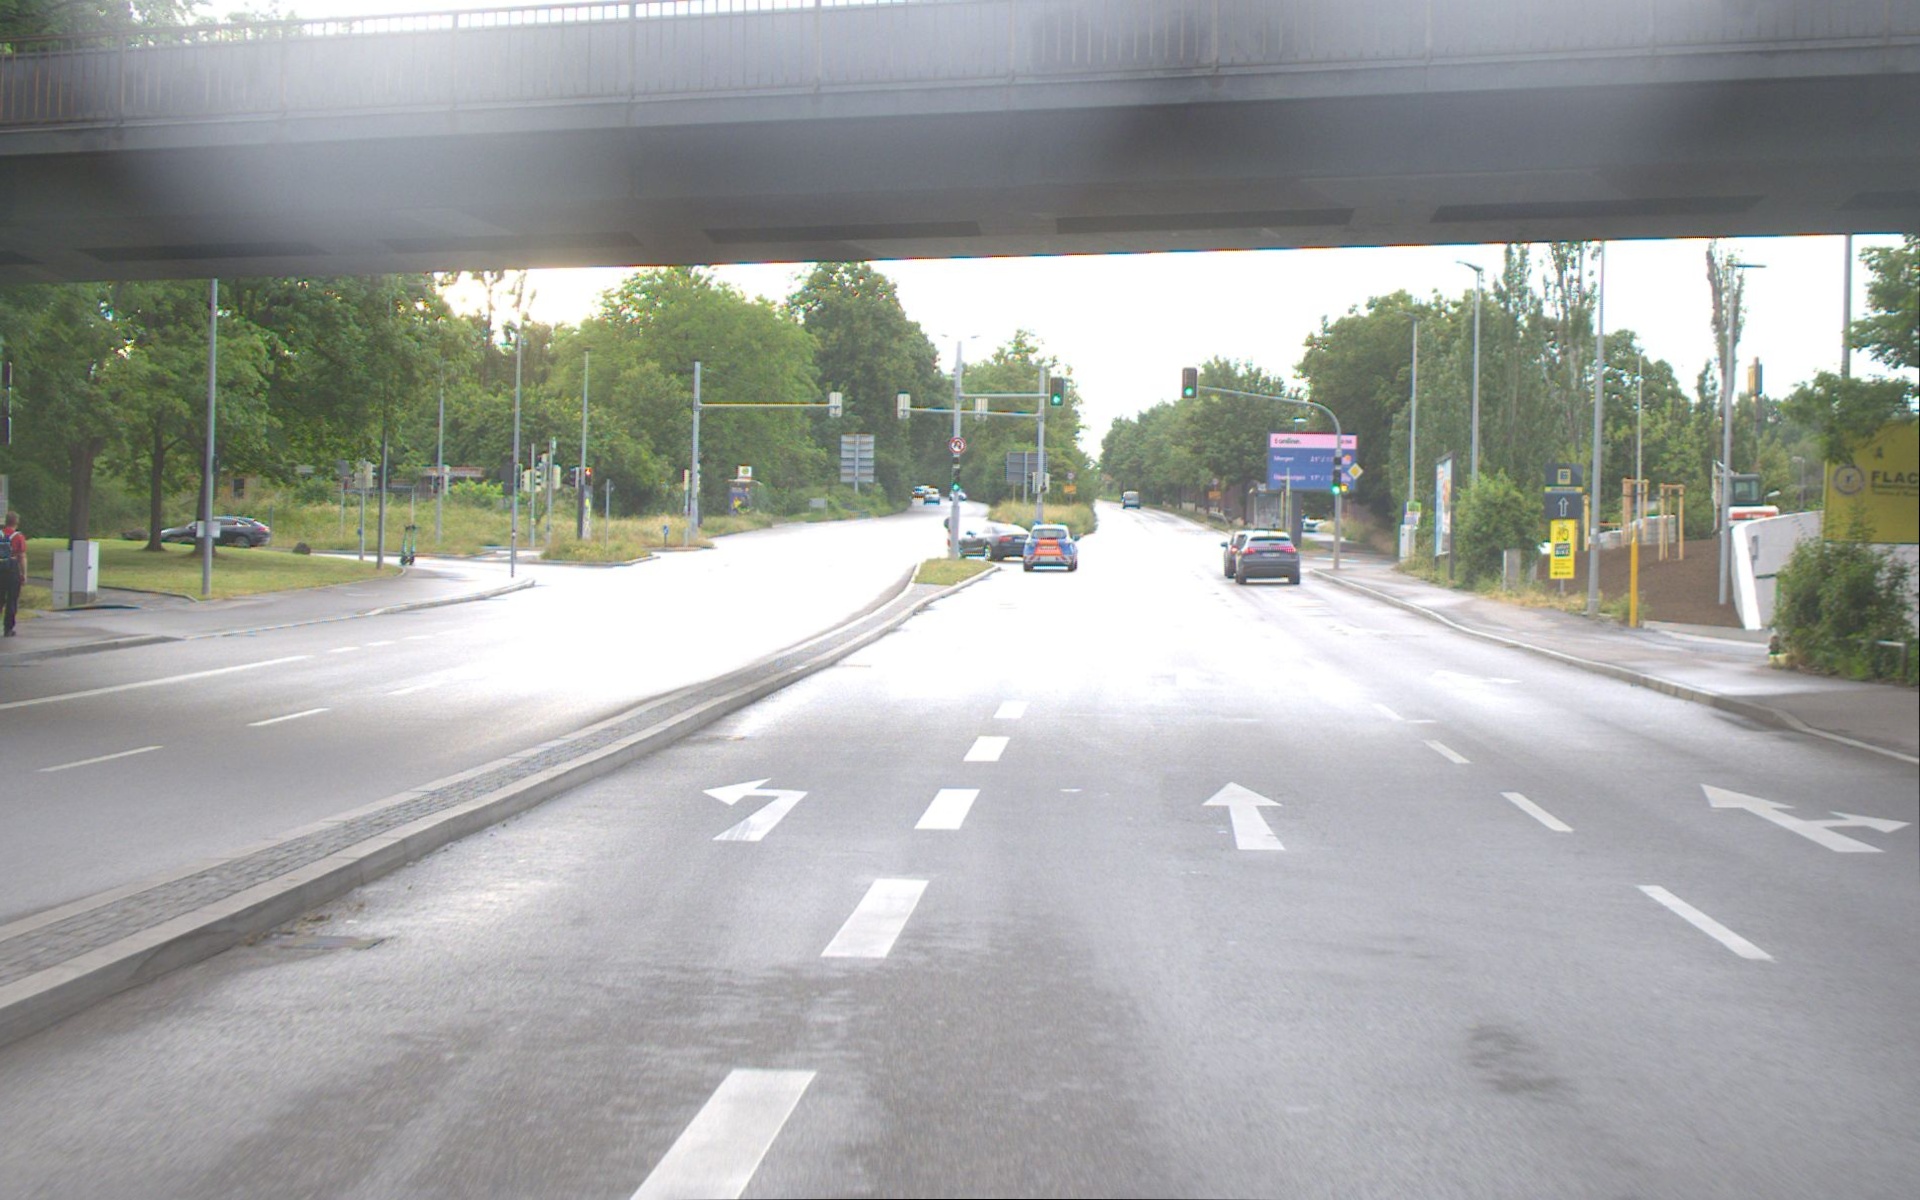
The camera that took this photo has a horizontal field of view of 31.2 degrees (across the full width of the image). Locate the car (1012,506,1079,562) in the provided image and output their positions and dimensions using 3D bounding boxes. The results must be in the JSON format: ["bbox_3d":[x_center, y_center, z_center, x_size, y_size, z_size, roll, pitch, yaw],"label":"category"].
[{"bbox_3d":[2.807,-2.172,113.730,2.076,1.712,4.198,3,0,1],"label":"car"}]

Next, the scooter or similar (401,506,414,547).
[{"bbox_3d":[-16.931,-2.261,105.314,0.311,1.214,1.308,1,2,-11],"label":"scooter or similar"}]

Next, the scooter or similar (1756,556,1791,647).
[{"bbox_3d":[10.246,0.010,43.266,0.255,1.125,1.278,2,1,20],"label":"scooter or similar"}]

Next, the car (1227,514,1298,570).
[{"bbox_3d":[8.603,-1.675,98.018,1.745,1.465,4.166,2,2,2],"label":"car"}]

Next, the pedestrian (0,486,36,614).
[{"bbox_3d":[-13.659,-0.718,49.143,0.520,1.809,0.799,2,1,13],"label":"pedestrian"}]

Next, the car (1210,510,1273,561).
[{"bbox_3d":[8.798,-2.036,107.655,1.745,1.465,4.166,2,2,2],"label":"car"}]

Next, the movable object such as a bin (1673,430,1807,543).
[{"bbox_3d":[23.409,-3.420,103.450,2.301,3.264,5.426,1,2,-5],"label":"movable object such as a bin"}]

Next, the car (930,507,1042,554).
[{"bbox_3d":[0.934,-2.587,127.555,2.165,1.577,4.665,3,0,-28],"label":"car"}]
